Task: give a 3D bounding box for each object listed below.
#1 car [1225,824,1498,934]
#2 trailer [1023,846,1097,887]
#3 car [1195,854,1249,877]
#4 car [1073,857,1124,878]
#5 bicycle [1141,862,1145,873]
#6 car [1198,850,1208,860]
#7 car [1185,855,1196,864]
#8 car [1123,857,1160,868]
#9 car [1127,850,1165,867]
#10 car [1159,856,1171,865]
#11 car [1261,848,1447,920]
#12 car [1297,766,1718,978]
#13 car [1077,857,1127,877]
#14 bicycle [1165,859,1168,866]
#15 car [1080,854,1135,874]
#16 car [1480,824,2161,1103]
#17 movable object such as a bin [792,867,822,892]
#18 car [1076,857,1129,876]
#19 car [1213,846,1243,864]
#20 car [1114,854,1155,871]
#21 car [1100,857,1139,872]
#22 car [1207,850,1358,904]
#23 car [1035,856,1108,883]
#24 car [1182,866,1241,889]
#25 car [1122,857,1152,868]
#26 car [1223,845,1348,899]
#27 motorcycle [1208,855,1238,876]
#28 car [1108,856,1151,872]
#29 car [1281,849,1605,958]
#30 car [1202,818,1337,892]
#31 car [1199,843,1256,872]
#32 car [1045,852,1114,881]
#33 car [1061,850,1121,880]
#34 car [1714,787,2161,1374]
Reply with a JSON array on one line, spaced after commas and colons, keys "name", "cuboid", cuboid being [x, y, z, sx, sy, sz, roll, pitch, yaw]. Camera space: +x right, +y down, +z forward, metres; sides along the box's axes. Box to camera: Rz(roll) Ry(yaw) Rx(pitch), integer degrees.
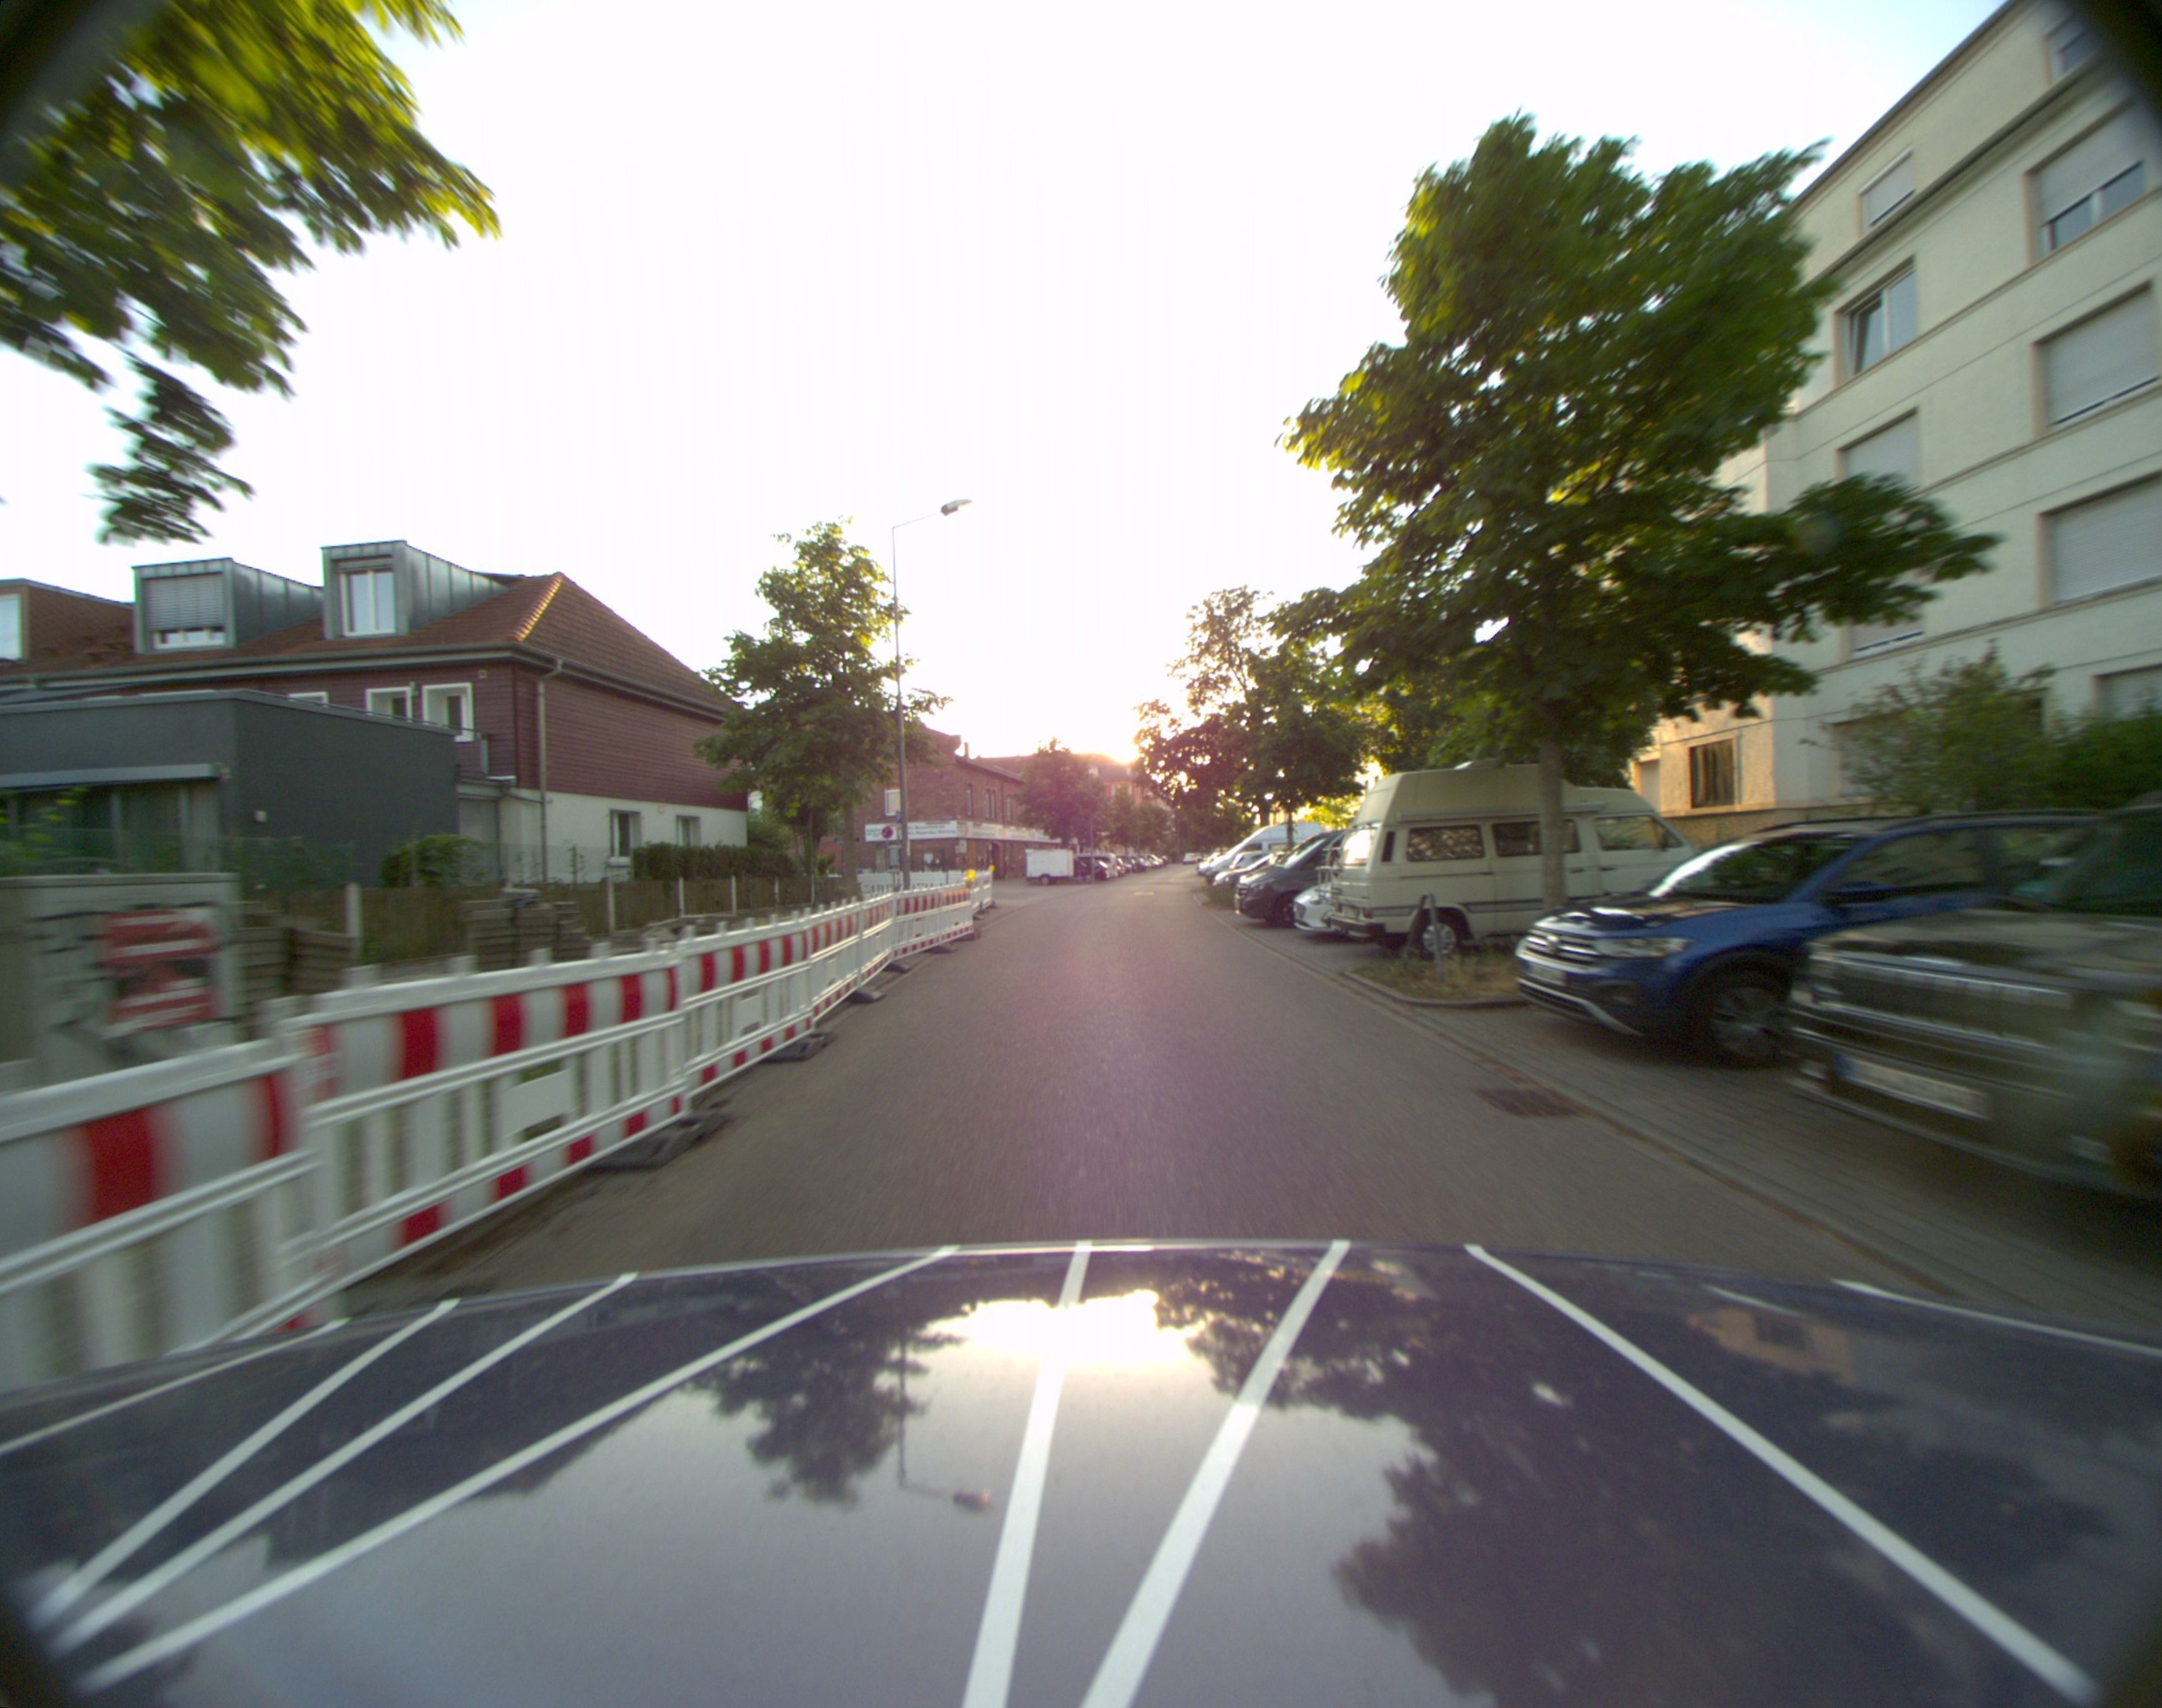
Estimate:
[{"name": "car", "cuboid": [5.446, 0.483, 15.279, 4.684, 1.862, 2.000, -3, 0, 2]}, {"name": "trailer", "cuboid": [-1.203, 0.735, 45.165, 3.994, 2.174, 2.001, -3, 0, 9]}, {"name": "car", "cuboid": [10.300, 0.833, 55.368, 3.719, 1.497, 1.691, -3, 0, 12]}, {"name": "car", "cuboid": [1.456, 1.110, 62.227, 3.953, 1.556, 1.822, -3, 0, 8]}, {"name": "bicycle", "cuboid": [6.825, 1.503, 83.503, 0.309, 1.185, 1.764, -3, 0, 10]}, {"name": "car", "cuboid": [25.613, 0.284, 159.360, 1.997, 2.002, 4.003, -3, 0, 10]}, {"name": "car", "cuboid": [19.324, 0.953, 134.022, 1.731, 1.367, 3.766, -3, 0, 10]}, {"name": "car", "cuboid": [8.069, 1.110, 101.785, 4.729, 1.487, 2.002, 0, 0, 10]}, {"name": "car", "cuboid": [9.165, 0.605, 106.922, 4.967, 2.089, 2.153, -3, 1, 15]}, {"name": "car", "cuboid": [15.022, 1.075, 135.180, 1.798, 1.515, 4.003, -3, 0, 10]}, {"name": "car", "cuboid": [6.357, 0.679, 17.994, 3.777, 1.430, 1.656, -3, 0, 3]}, {"name": "car", "cuboid": [5.523, 0.238, 10.365, 4.513, 2.416, 2.000, -3, 0, 2]}, {"name": "car", "cuboid": [1.783, 1.084, 64.213, 3.994, 1.609, 1.896, 0, 0, 8]}, {"name": "bicycle", "cuboid": [12.755, 1.276, 113.348, 0.357, 1.018, 1.973, -3, 0, 10]}, {"name": "car", "cuboid": [2.432, 0.889, 69.513, 4.794, 1.743, 2.019, 1, -1, 9]}, {"name": "car", "cuboid": [5.338, 0.682, 5.525, 3.869, 1.585, 1.786, -3, 0, 3]}, {"name": "movable object such as a bin", "cuboid": [-16.947, 1.559, 47.023, 1.262, 1.435, 1.098, -3, 0, 12]}, {"name": "car", "cuboid": [1.890, 1.089, 66.928, 4.422, 1.565, 1.983, 1, 0, 8]}, {"name": "car", "cuboid": [22.932, 0.131, 118.126, 4.409, 2.541, 1.933, -3, 0, 12]}, {"name": "car", "cuboid": [6.459, 0.990, 91.871, 4.593, 1.851, 2.014, 2, 1, 12]}, {"name": "car", "cuboid": [4.196, 1.116, 82.244, 3.993, 1.537, 1.846, 1, 1, 10]}, {"name": "car", "cuboid": [6.047, 0.686, 23.226, 4.252, 1.386, 1.685, -3, 0, 8]}, {"name": "car", "cuboid": [-0.567, 1.007, 49.273, 4.435, 1.490, 1.774, -3, 0, 9]}, {"name": "car", "cuboid": [10.145, 1.804, 58.814, 4.334, 1.397, 1.853, -4, 0, 11]}, {"name": "car", "cuboid": [7.299, 1.111, 99.090, 3.791, 1.488, 1.682, 0, 0, 9]}, {"name": "car", "cuboid": [6.889, 0.611, 25.929, 3.811, 1.513, 1.653, -4, 0, 6]}, {"name": "motorcycle", "cuboid": [10.037, 0.806, 53.791, 1.990, 1.428, 0.722, -3, 0, 5]}, {"name": "car", "cuboid": [5.574, 1.122, 86.981, 4.701, 1.622, 2.002, 1, 0, 12]}, {"name": "car", "cuboid": [5.557, 0.736, 12.136, 4.185, 1.417, 2.000, -3, 0, 2]}, {"name": "car", "cuboid": [7.167, 0.064, 29.311, 4.741, 2.554, 2.001, -3, 0, 6]}, {"name": "car", "cuboid": [12.611, 0.349, 65.300, 4.520, 2.057, 2.002, -5, -2, 13]}, {"name": "car", "cuboid": [-0.098, 0.830, 51.299, 4.309, 1.788, 1.905, -3, 0, 9]}, {"name": "car", "cuboid": [0.740, 0.769, 54.050, 3.994, 1.892, 2.001, -3, 0, 9]}, {"name": "car", "cuboid": [5.149, 0.600, 2.910, 3.870, 1.766, 1.843, -3, 0, -1]}]
